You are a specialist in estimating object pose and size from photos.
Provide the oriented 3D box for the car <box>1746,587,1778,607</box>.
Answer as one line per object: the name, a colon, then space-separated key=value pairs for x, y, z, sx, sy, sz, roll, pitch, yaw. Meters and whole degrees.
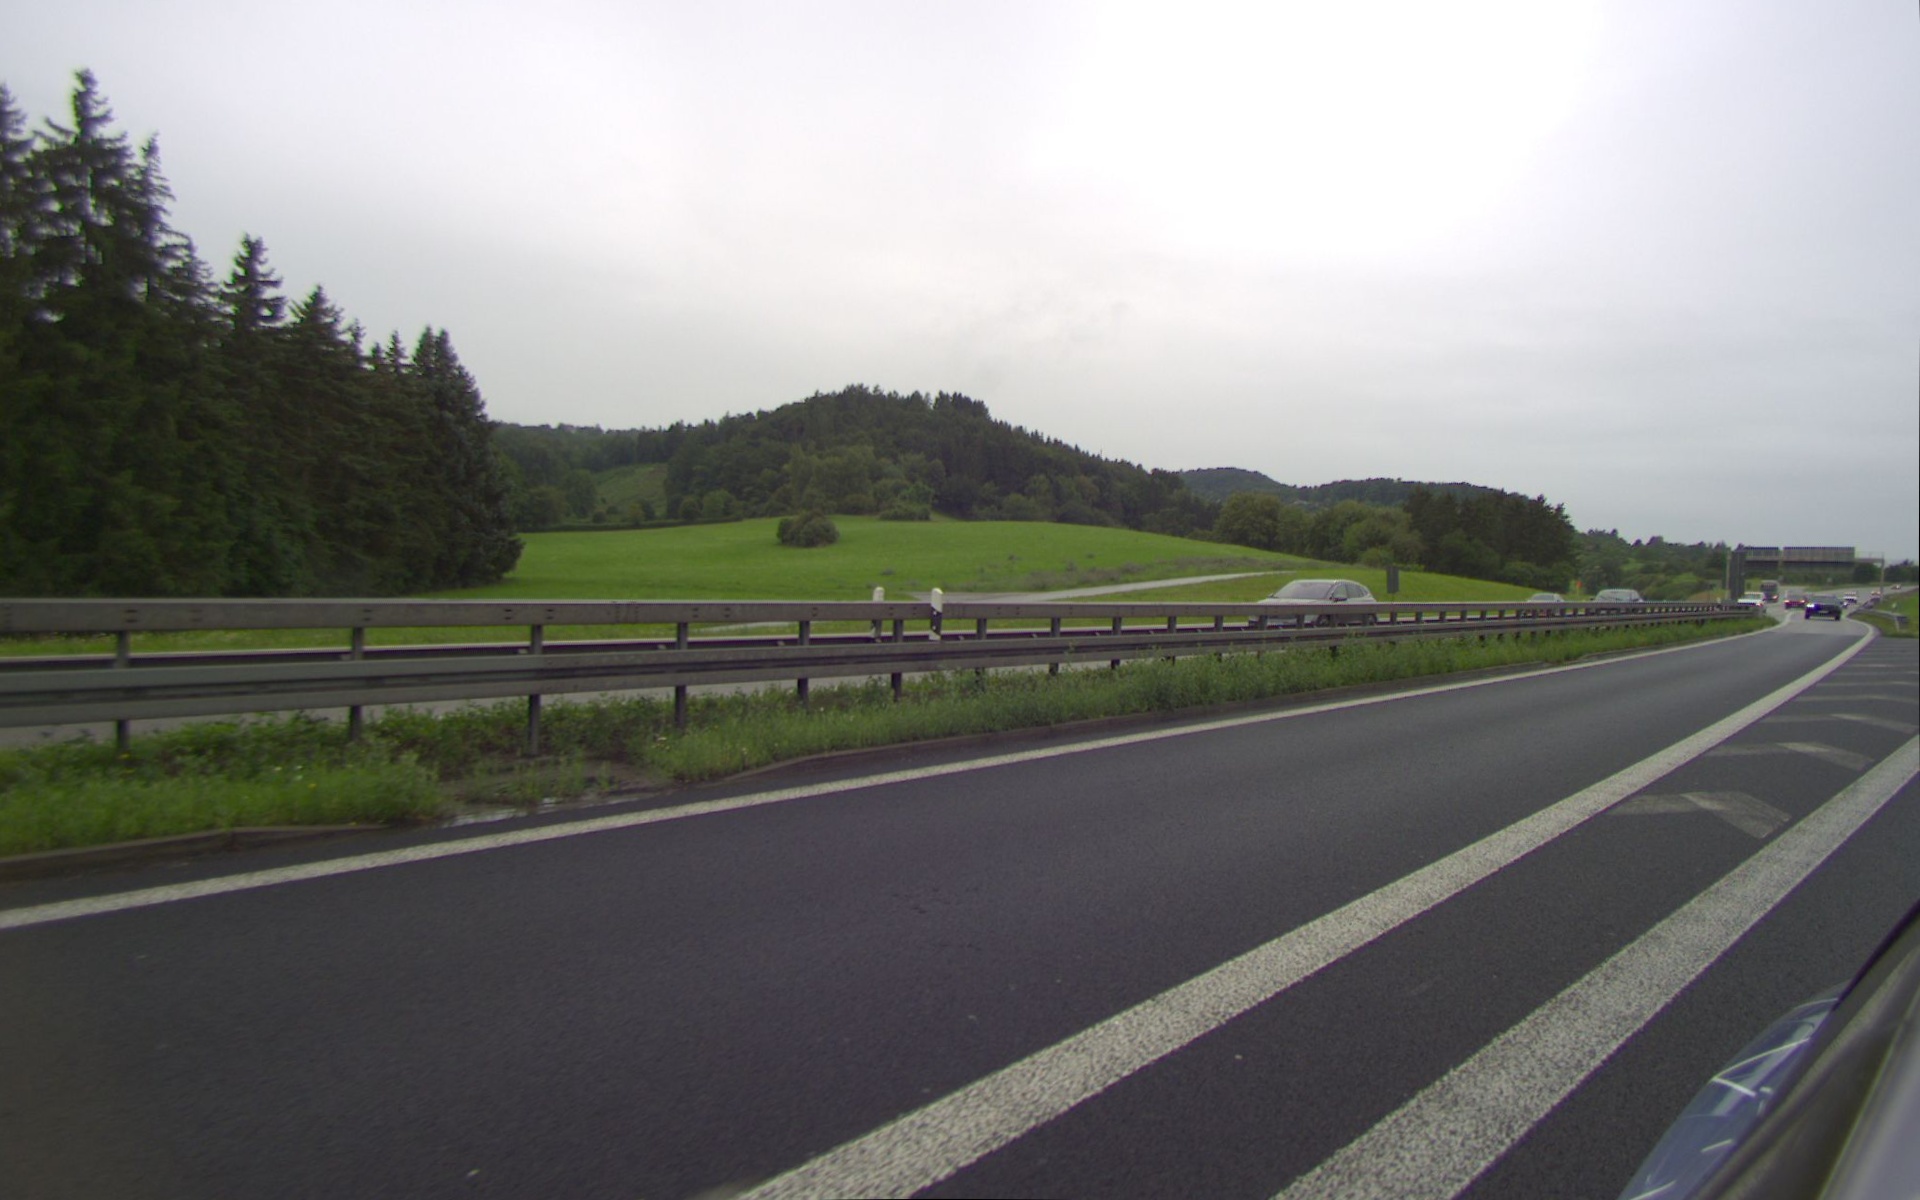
car: x=71.961 y=-0.291 z=90.765 sx=1.909 sy=1.715 sz=4.645 roll=0 pitch=1 yaw=43

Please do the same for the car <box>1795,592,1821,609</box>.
car: x=103.253 y=0.057 z=123.203 sx=2.124 sy=2.039 sz=4.998 roll=0 pitch=1 yaw=43

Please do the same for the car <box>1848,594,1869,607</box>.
car: x=121.620 y=0.108 z=137.017 sx=1.909 sy=1.715 sz=4.644 roll=1 pitch=1 yaw=44

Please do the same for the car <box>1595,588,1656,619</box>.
car: x=30.952 y=0.125 z=47.030 sx=1.667 sy=1.400 sz=4.061 roll=1 pitch=1 yaw=43

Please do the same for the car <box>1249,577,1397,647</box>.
car: x=9.341 y=0.248 z=25.829 sx=4.568 sy=1.630 sz=1.771 roll=-1 pitch=1 yaw=-45

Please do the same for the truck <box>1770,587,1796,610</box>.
truck: x=150.780 y=-0.327 z=185.404 sx=2.792 sy=3.949 sz=9.868 roll=0 pitch=1 yaw=44

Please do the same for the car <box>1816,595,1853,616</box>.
car: x=60.882 y=0.351 z=70.483 sx=1.860 sy=1.374 sz=4.501 roll=1 pitch=1 yaw=40

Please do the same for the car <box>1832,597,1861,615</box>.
car: x=88.714 y=0.546 z=101.268 sx=1.909 sy=1.715 sz=4.644 roll=1 pitch=1 yaw=44

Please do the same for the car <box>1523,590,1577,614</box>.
car: x=37.684 y=0.096 z=64.598 sx=1.899 sy=1.473 sz=4.635 roll=1 pitch=1 yaw=44
